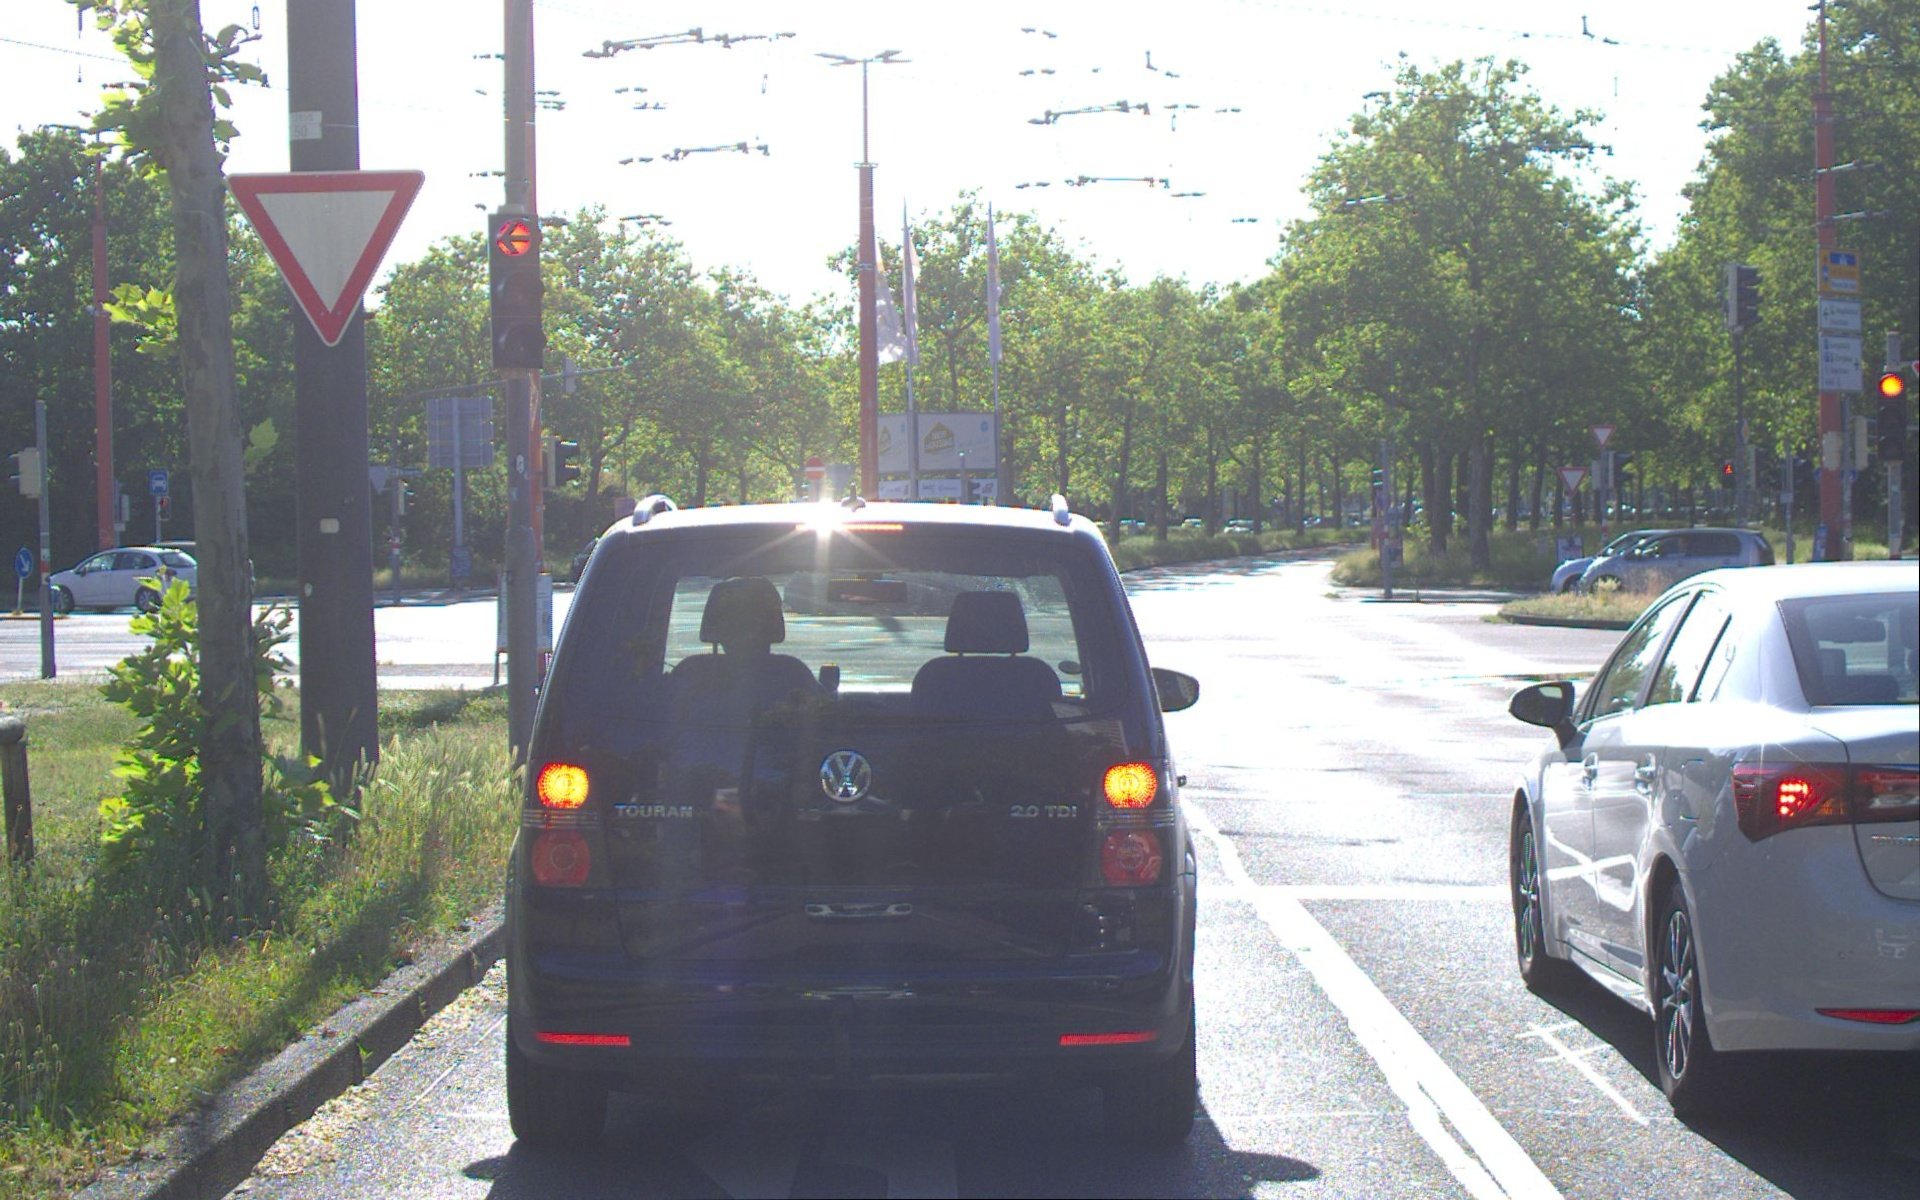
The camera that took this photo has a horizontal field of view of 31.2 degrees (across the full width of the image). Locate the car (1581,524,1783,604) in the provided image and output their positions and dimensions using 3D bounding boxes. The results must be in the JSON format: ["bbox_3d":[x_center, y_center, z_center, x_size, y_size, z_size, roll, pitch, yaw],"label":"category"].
[{"bbox_3d":[13.236,-0.661,63.039,3.398,1.452,1.463,0,1,23],"label":"car"}]

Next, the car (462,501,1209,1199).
[{"bbox_3d":[-0.313,0.550,9.821,1.700,1.616,3.897,0,1,-1],"label":"car"}]

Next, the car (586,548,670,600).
[{"bbox_3d":[-10.858,-0.843,112.654,1.915,1.630,3.999,1,1,7],"label":"car"}]

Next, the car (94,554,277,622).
[{"bbox_3d":[-19.051,-0.306,84.540,4.125,1.638,1.850,0,1,26],"label":"car"}]

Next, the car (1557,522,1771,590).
[{"bbox_3d":[13.786,-0.861,67.315,3.833,1.260,1.601,1,1,23],"label":"car"}]

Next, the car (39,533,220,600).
[{"bbox_3d":[-19.134,-0.772,79.180,3.824,1.517,1.693,0,1,25],"label":"car"}]

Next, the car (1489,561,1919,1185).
[{"bbox_3d":[2.714,0.620,10.116,1.720,1.433,4.198,1,1,1],"label":"car"}]

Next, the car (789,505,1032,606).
[{"bbox_3d":[-1.022,-0.912,70.786,4.576,2.007,1.997,0,1,24],"label":"car"}]
